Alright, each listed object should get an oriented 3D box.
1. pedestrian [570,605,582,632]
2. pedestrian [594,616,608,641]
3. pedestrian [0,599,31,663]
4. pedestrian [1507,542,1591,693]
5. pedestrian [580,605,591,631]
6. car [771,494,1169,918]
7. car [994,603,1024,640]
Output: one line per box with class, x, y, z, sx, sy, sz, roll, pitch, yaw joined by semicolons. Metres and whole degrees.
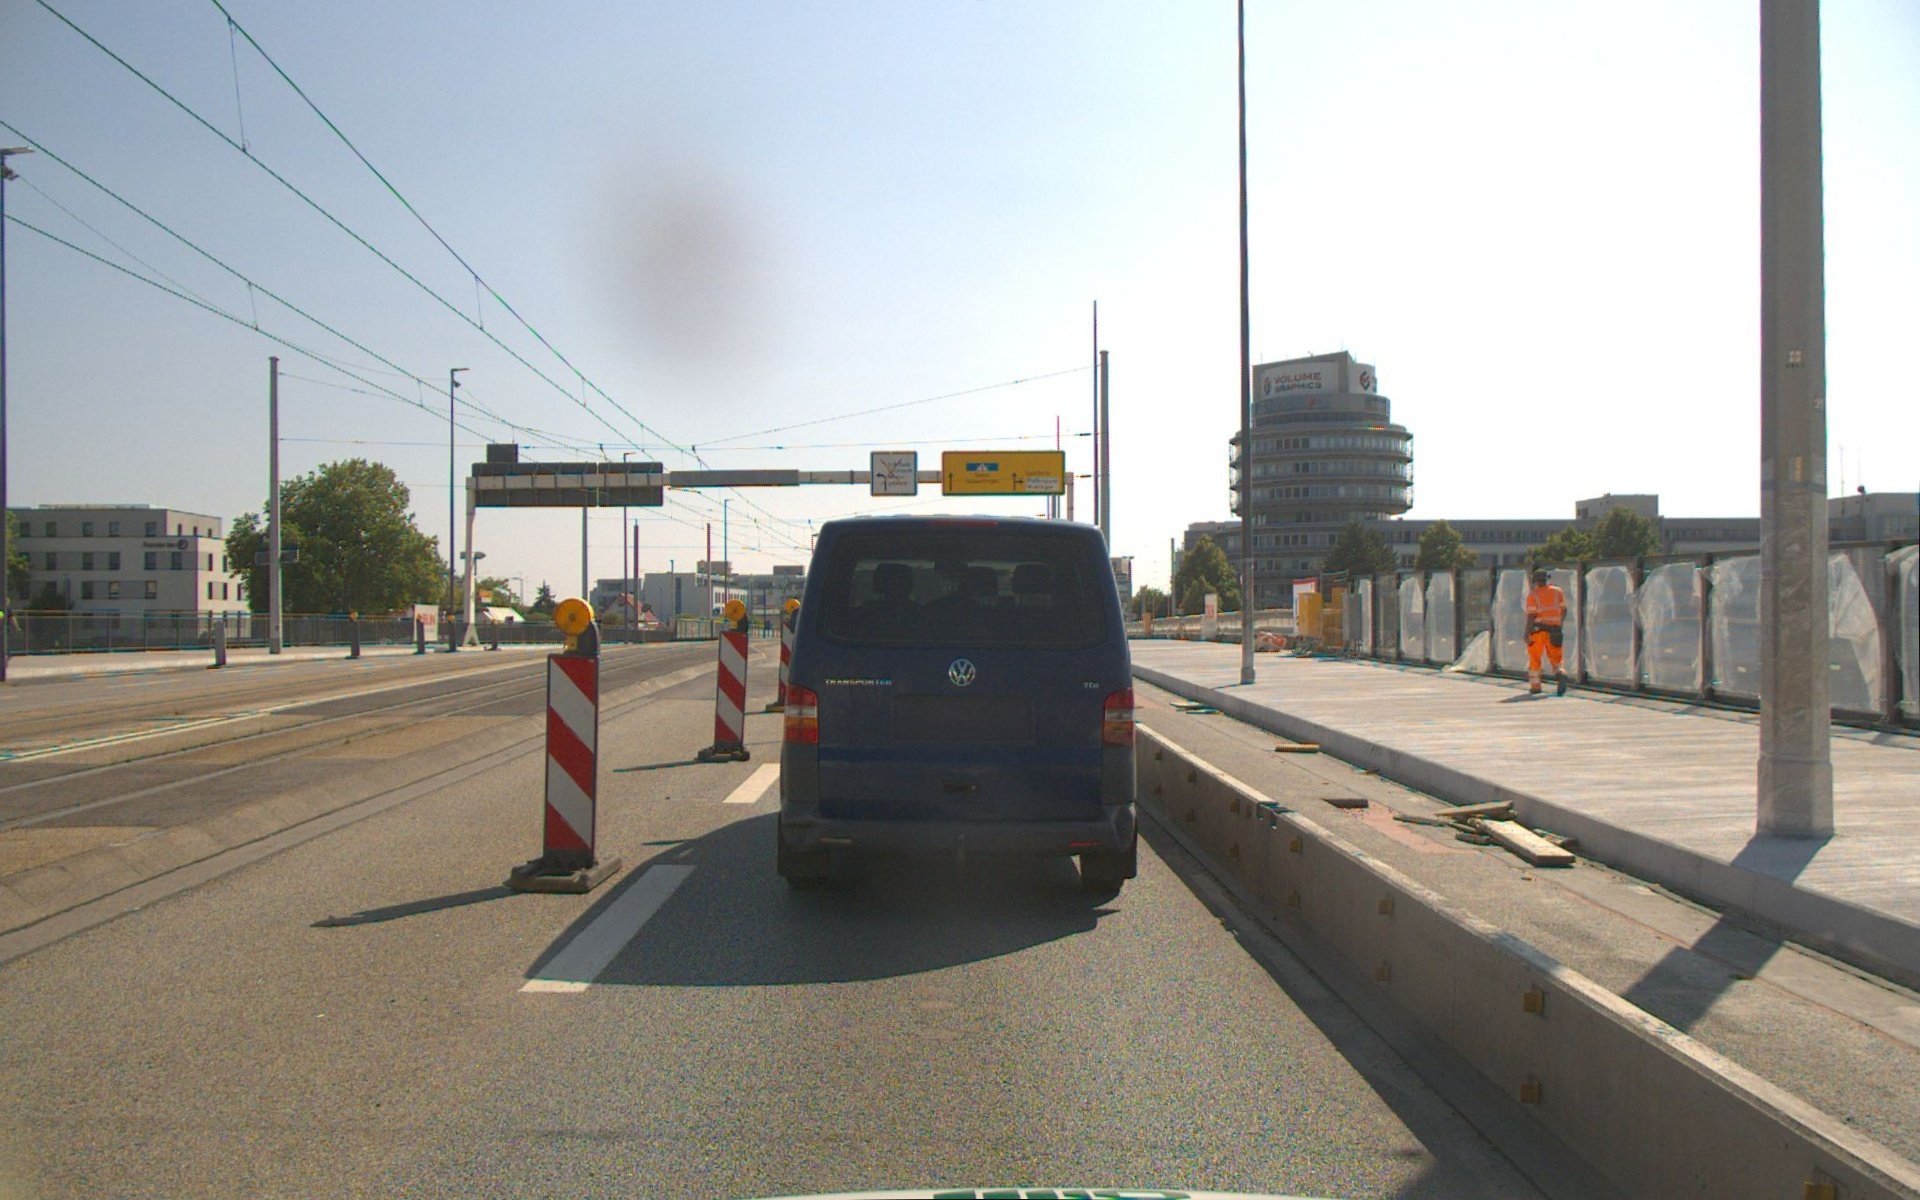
pedestrian;-25.404;1.228;109.504;0.585;1.717;0.818;-1;-1;3
pedestrian;-24.490;1.947;112.839;0.737;1.717;0.732;-1;-1;3
pedestrian;-25.704;0.827;44.597;0.728;1.670;0.895;2;-1;-1
pedestrian;8.059;0.242;22.675;0.716;1.999;1.016;-2;-1;0
pedestrian;-24.862;1.204;109.875;0.476;1.717;0.808;-1;-1;3
car;0.022;0.528;9.842;1.849;1.968;3.999;1;-1;-1
car;3.907;1.717;133.698;2.290;2.938;5.970;1;-1;1
